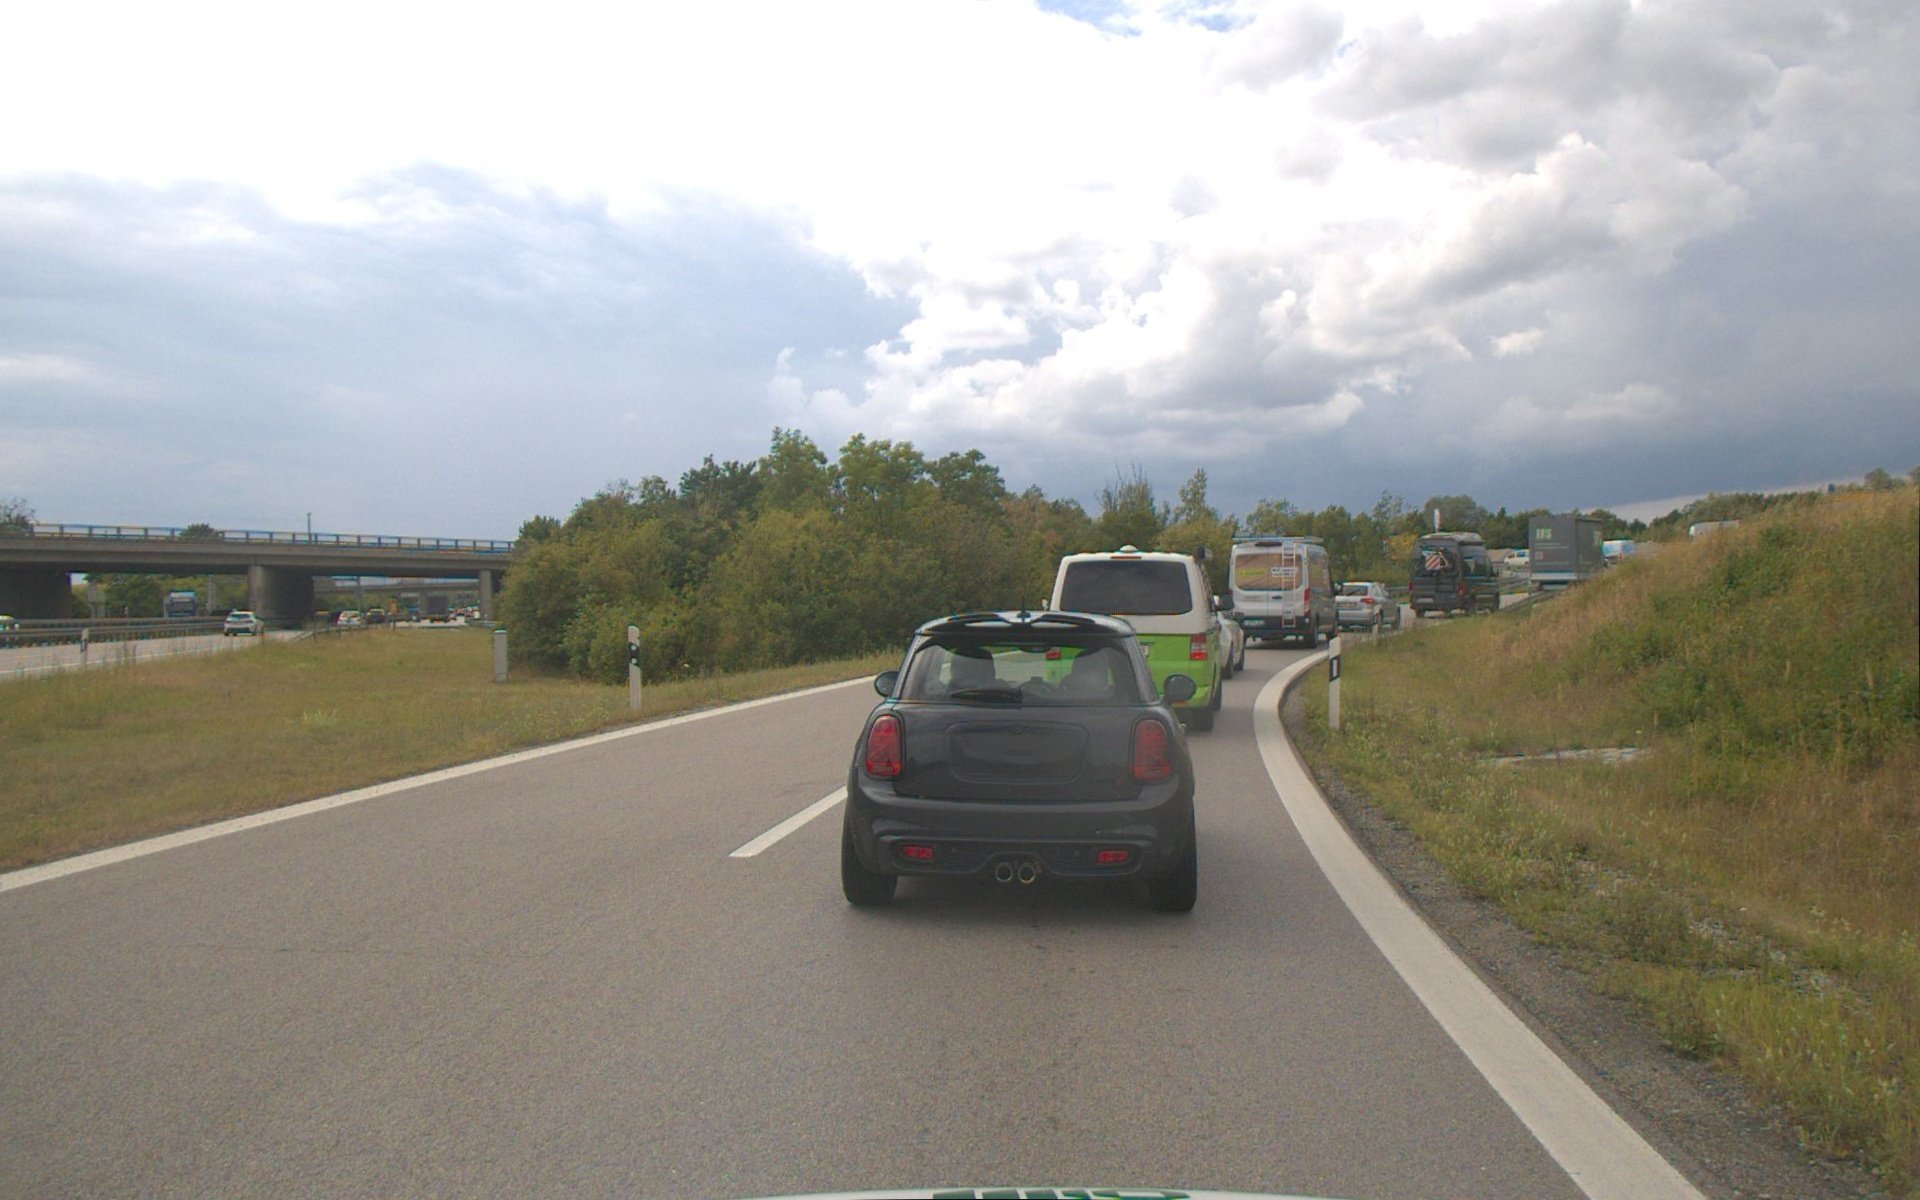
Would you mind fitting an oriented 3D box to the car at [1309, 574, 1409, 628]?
[{"bbox_3d":[11.957,0.033,49.407,1.831,1.536,3.992,0,-1,30],"label":"car"}]

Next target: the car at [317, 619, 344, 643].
[{"bbox_3d":[-55.283,2.742,145.232,1.963,2.049,3.979,1,-1,-18],"label":"car"}]

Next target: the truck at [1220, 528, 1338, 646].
[{"bbox_3d":[7.924,-0.321,40.656,2.133,2.705,5.110,0,0,19],"label":"truck"}]

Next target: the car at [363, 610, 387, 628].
[{"bbox_3d":[-62.620,2.035,177.175,1.960,1.774,4.810,-1,0,-15],"label":"car"}]

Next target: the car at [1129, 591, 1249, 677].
[{"bbox_3d":[4.112,0.577,29.272,1.725,1.423,3.728,0,0,14],"label":"car"}]

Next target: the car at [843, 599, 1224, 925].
[{"bbox_3d":[0.389,0.737,9.267,1.691,1.438,3.726,0,-1,2],"label":"car"}]

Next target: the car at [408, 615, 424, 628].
[{"bbox_3d":[-74.373,2.890,226.244,1.815,1.789,4.318,0,0,-15],"label":"car"}]

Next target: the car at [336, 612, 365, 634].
[{"bbox_3d":[-44.600,1.695,121.058,1.689,1.545,3.982,-1,0,-16],"label":"car"}]

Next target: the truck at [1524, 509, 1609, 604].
[{"bbox_3d":[27.598,-1.903,75.132,2.190,3.975,5.995,0,-2,35],"label":"truck"}]

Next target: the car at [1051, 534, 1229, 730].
[{"bbox_3d":[2.207,0.341,19.403,1.746,2.049,4.003,0,0,11],"label":"car"}]

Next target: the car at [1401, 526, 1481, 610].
[{"bbox_3d":[16.965,-1.097,58.239,2.063,2.845,3.997,1,0,25],"label":"car"}]

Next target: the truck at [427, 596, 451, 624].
[{"bbox_3d":[-67.166,1.335,213.343,2.426,3.430,7.891,-1,-1,-15],"label":"truck"}]

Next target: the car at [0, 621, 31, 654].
[{"bbox_3d":[-47.296,1.829,81.399,1.842,1.601,3.983,0,0,-16],"label":"car"}]

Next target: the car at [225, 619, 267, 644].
[{"bbox_3d":[-43.612,1.898,101.071,1.806,1.478,4.359,0,0,-16],"label":"car"}]
